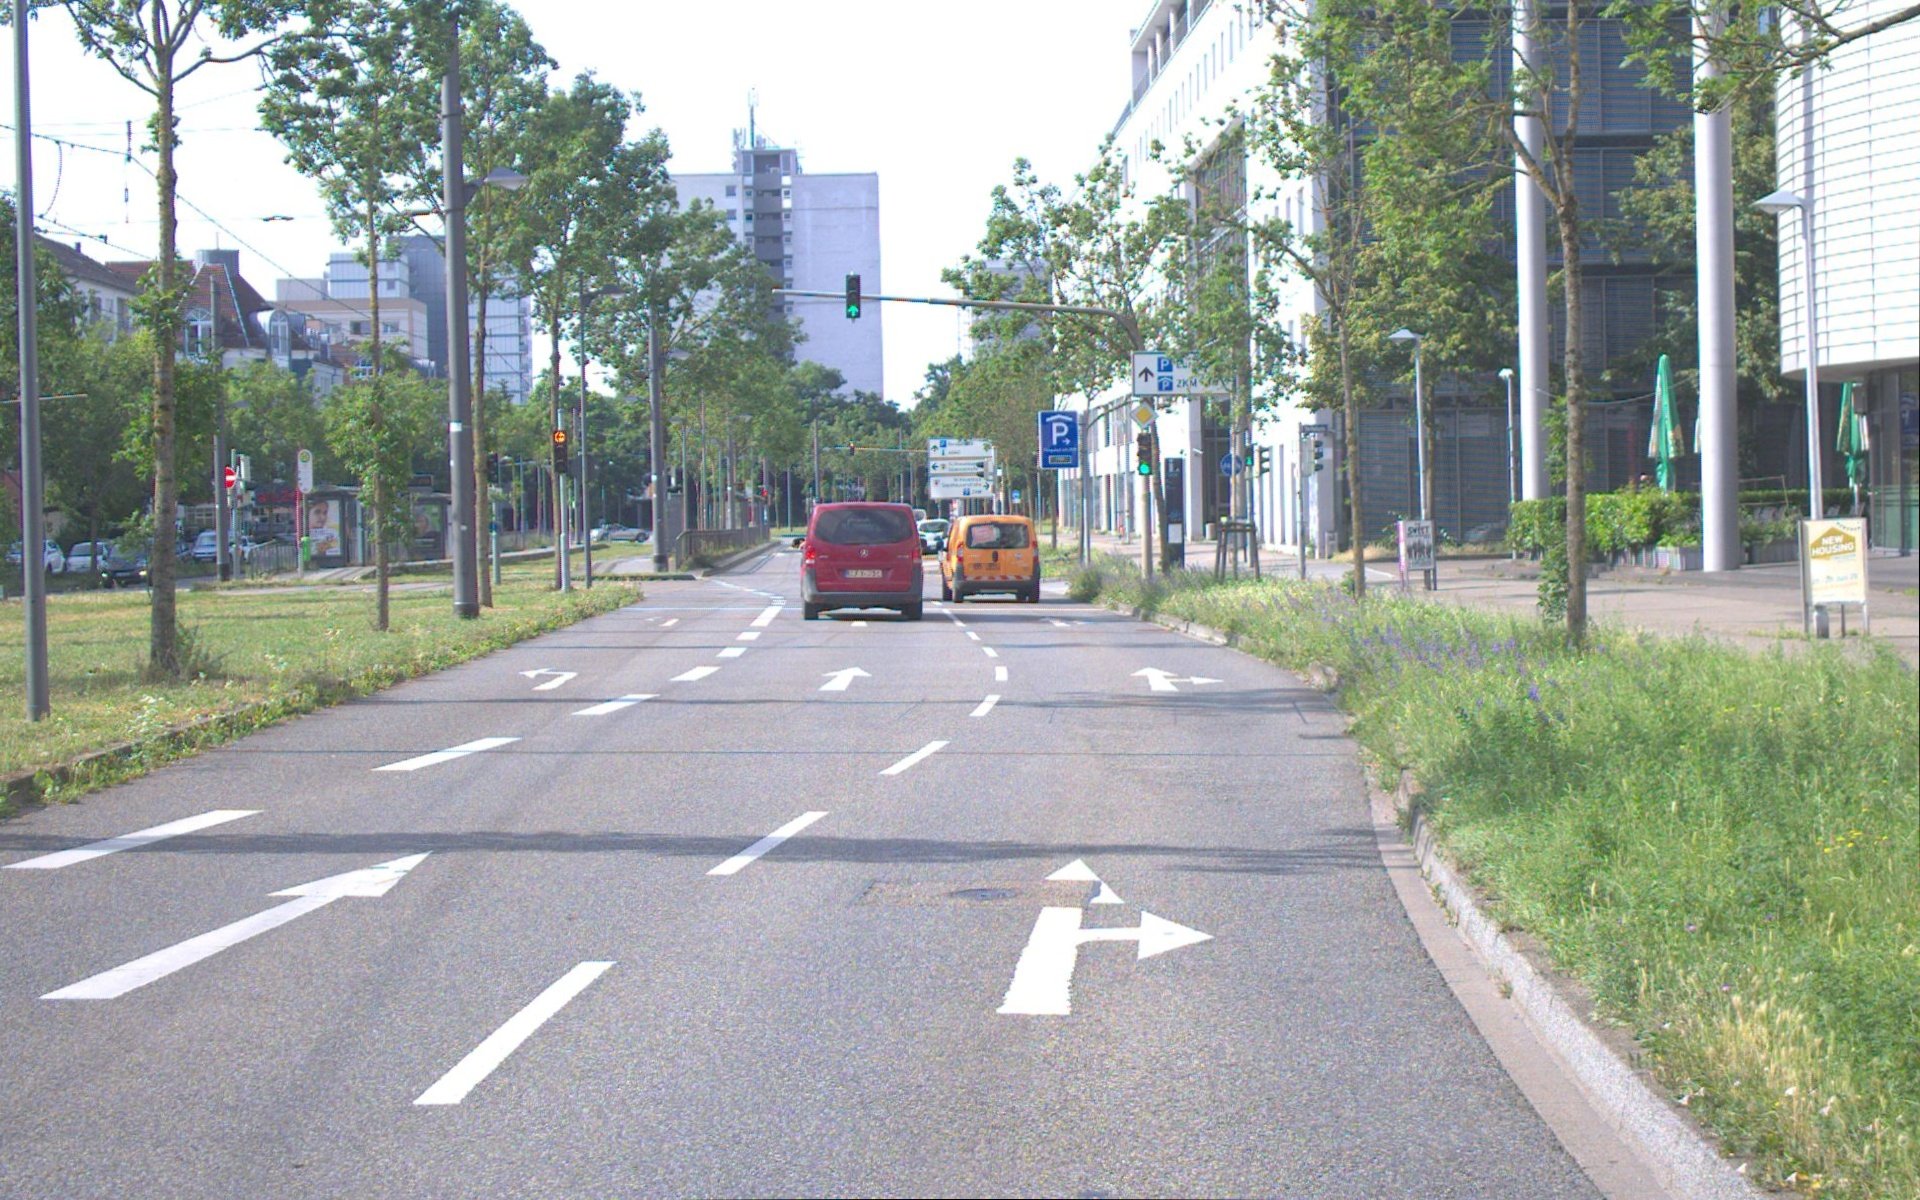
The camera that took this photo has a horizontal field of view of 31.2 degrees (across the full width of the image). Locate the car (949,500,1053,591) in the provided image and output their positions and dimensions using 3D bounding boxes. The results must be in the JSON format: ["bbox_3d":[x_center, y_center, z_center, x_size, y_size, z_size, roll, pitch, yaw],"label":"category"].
[{"bbox_3d":[0.773,-1.095,67.306,1.875,1.690,3.974,-1,2,-1],"label":"car"}]

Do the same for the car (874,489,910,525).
[{"bbox_3d":[-3.959,-5.371,198.761,1.993,2.006,4.001,-1,2,-2],"label":"car"}]

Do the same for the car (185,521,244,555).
[{"bbox_3d":[-34.857,-2.917,160.848,1.980,1.508,4.281,0,2,-2],"label":"car"}]

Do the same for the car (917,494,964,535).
[{"bbox_3d":[-0.783,-3.368,135.053,1.689,1.521,3.851,-3,2,-1],"label":"car"}]

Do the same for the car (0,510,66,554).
[{"bbox_3d":[-33.912,-2.495,124.648,1.980,1.551,4.538,0,2,-2],"label":"car"}]

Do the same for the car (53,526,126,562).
[{"bbox_3d":[-34.011,-2.195,134.473,1.980,1.356,4.070,0,2,-2],"label":"car"}]

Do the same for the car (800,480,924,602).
[{"bbox_3d":[-1.600,-0.974,54.983,1.874,1.847,4.001,-1,2,-3],"label":"car"}]

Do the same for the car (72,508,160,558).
[{"bbox_3d":[-29.849,-2.402,121.757,1.993,1.700,4.713,-1,2,-1],"label":"car"}]

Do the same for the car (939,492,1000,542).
[{"bbox_3d":[0.273,-2.612,108.457,1.720,1.514,3.782,-1,2,-3],"label":"car"}]

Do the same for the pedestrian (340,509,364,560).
[{"bbox_3d":[-20.187,-2.176,114.143,0.671,1.647,0.795,-2,1,-6],"label":"pedestrian"}]
